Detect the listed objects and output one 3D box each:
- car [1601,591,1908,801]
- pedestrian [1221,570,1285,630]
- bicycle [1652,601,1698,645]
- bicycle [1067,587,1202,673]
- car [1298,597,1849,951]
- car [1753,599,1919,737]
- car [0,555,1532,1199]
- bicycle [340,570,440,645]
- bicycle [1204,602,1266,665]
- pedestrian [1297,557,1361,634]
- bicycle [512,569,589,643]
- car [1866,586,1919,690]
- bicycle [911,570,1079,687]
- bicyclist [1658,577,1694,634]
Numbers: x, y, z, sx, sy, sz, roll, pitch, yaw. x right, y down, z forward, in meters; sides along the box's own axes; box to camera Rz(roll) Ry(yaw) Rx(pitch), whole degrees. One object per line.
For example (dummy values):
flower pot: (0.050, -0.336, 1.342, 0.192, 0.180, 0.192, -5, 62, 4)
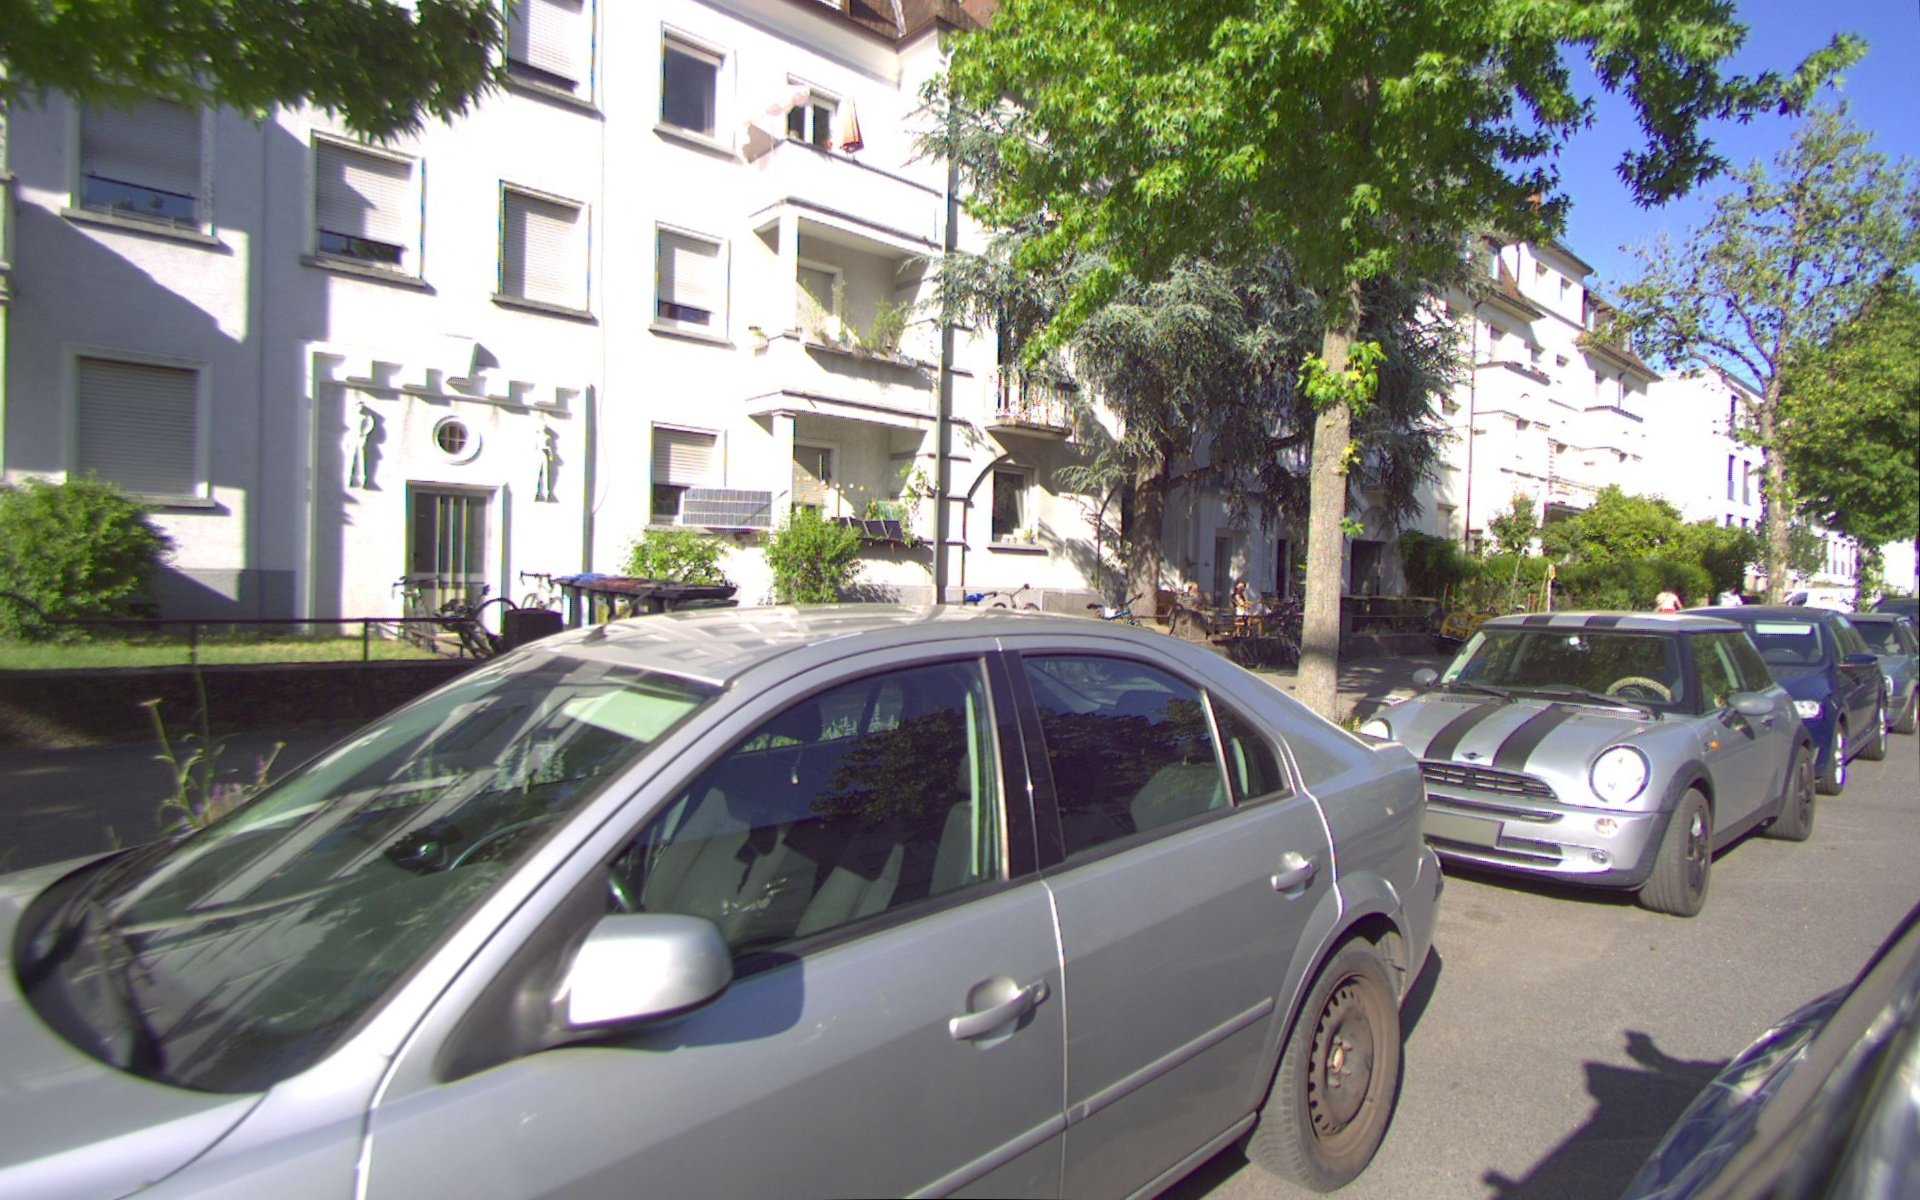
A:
car: (7.259, 0.669, 9.105, 3.806, 1.482, 1.607, -1, 0, -43)
pedestrian: (5.849, -0.010, 20.199, 1.033, 1.157, 0.705, 0, 1, 44)
bicycle: (17.281, 0.538, 24.444, 1.756, 0.973, 0.459, -1, 4, -41)
bicycle: (2.289, 0.366, 13.050, 2.211, 1.025, 0.432, -1, -3, -43)
car: (3.777, 0.706, 6.003, 3.631, 1.415, 1.767, -1, 0, -41)
car: (11.389, 0.734, 12.757, 3.948, 1.442, 1.607, -1, 0, -43)
car: (-0.616, 0.656, 2.123, 4.412, 1.424, 1.715, -1, 3, -41)
bicycle: (-6.460, 0.065, 11.416, 0.615, 0.779, 2.064, 1, 0, -40)
bicycle: (3.954, 0.471, 14.526, 1.032, 0.860, 0.331, 0, 2, -41)
pedestrian: (7.010, -0.100, 19.266, 1.021, 1.395, 0.713, 2, 2, 14)
bicycle: (-5.902, 0.046, 14.519, 0.548, 0.929, 2.037, 0, 3, -36)
car: (16.823, 0.584, 17.213, 3.948, 1.657, 1.766, -1, 0, -43)
bicycle: (0.439, 0.281, 11.331, 2.138, 1.212, 0.489, -1, 0, -42)
bicyclist: (17.334, 0.124, 24.497, 0.706, 1.354, 0.497, 0, 4, -41)
